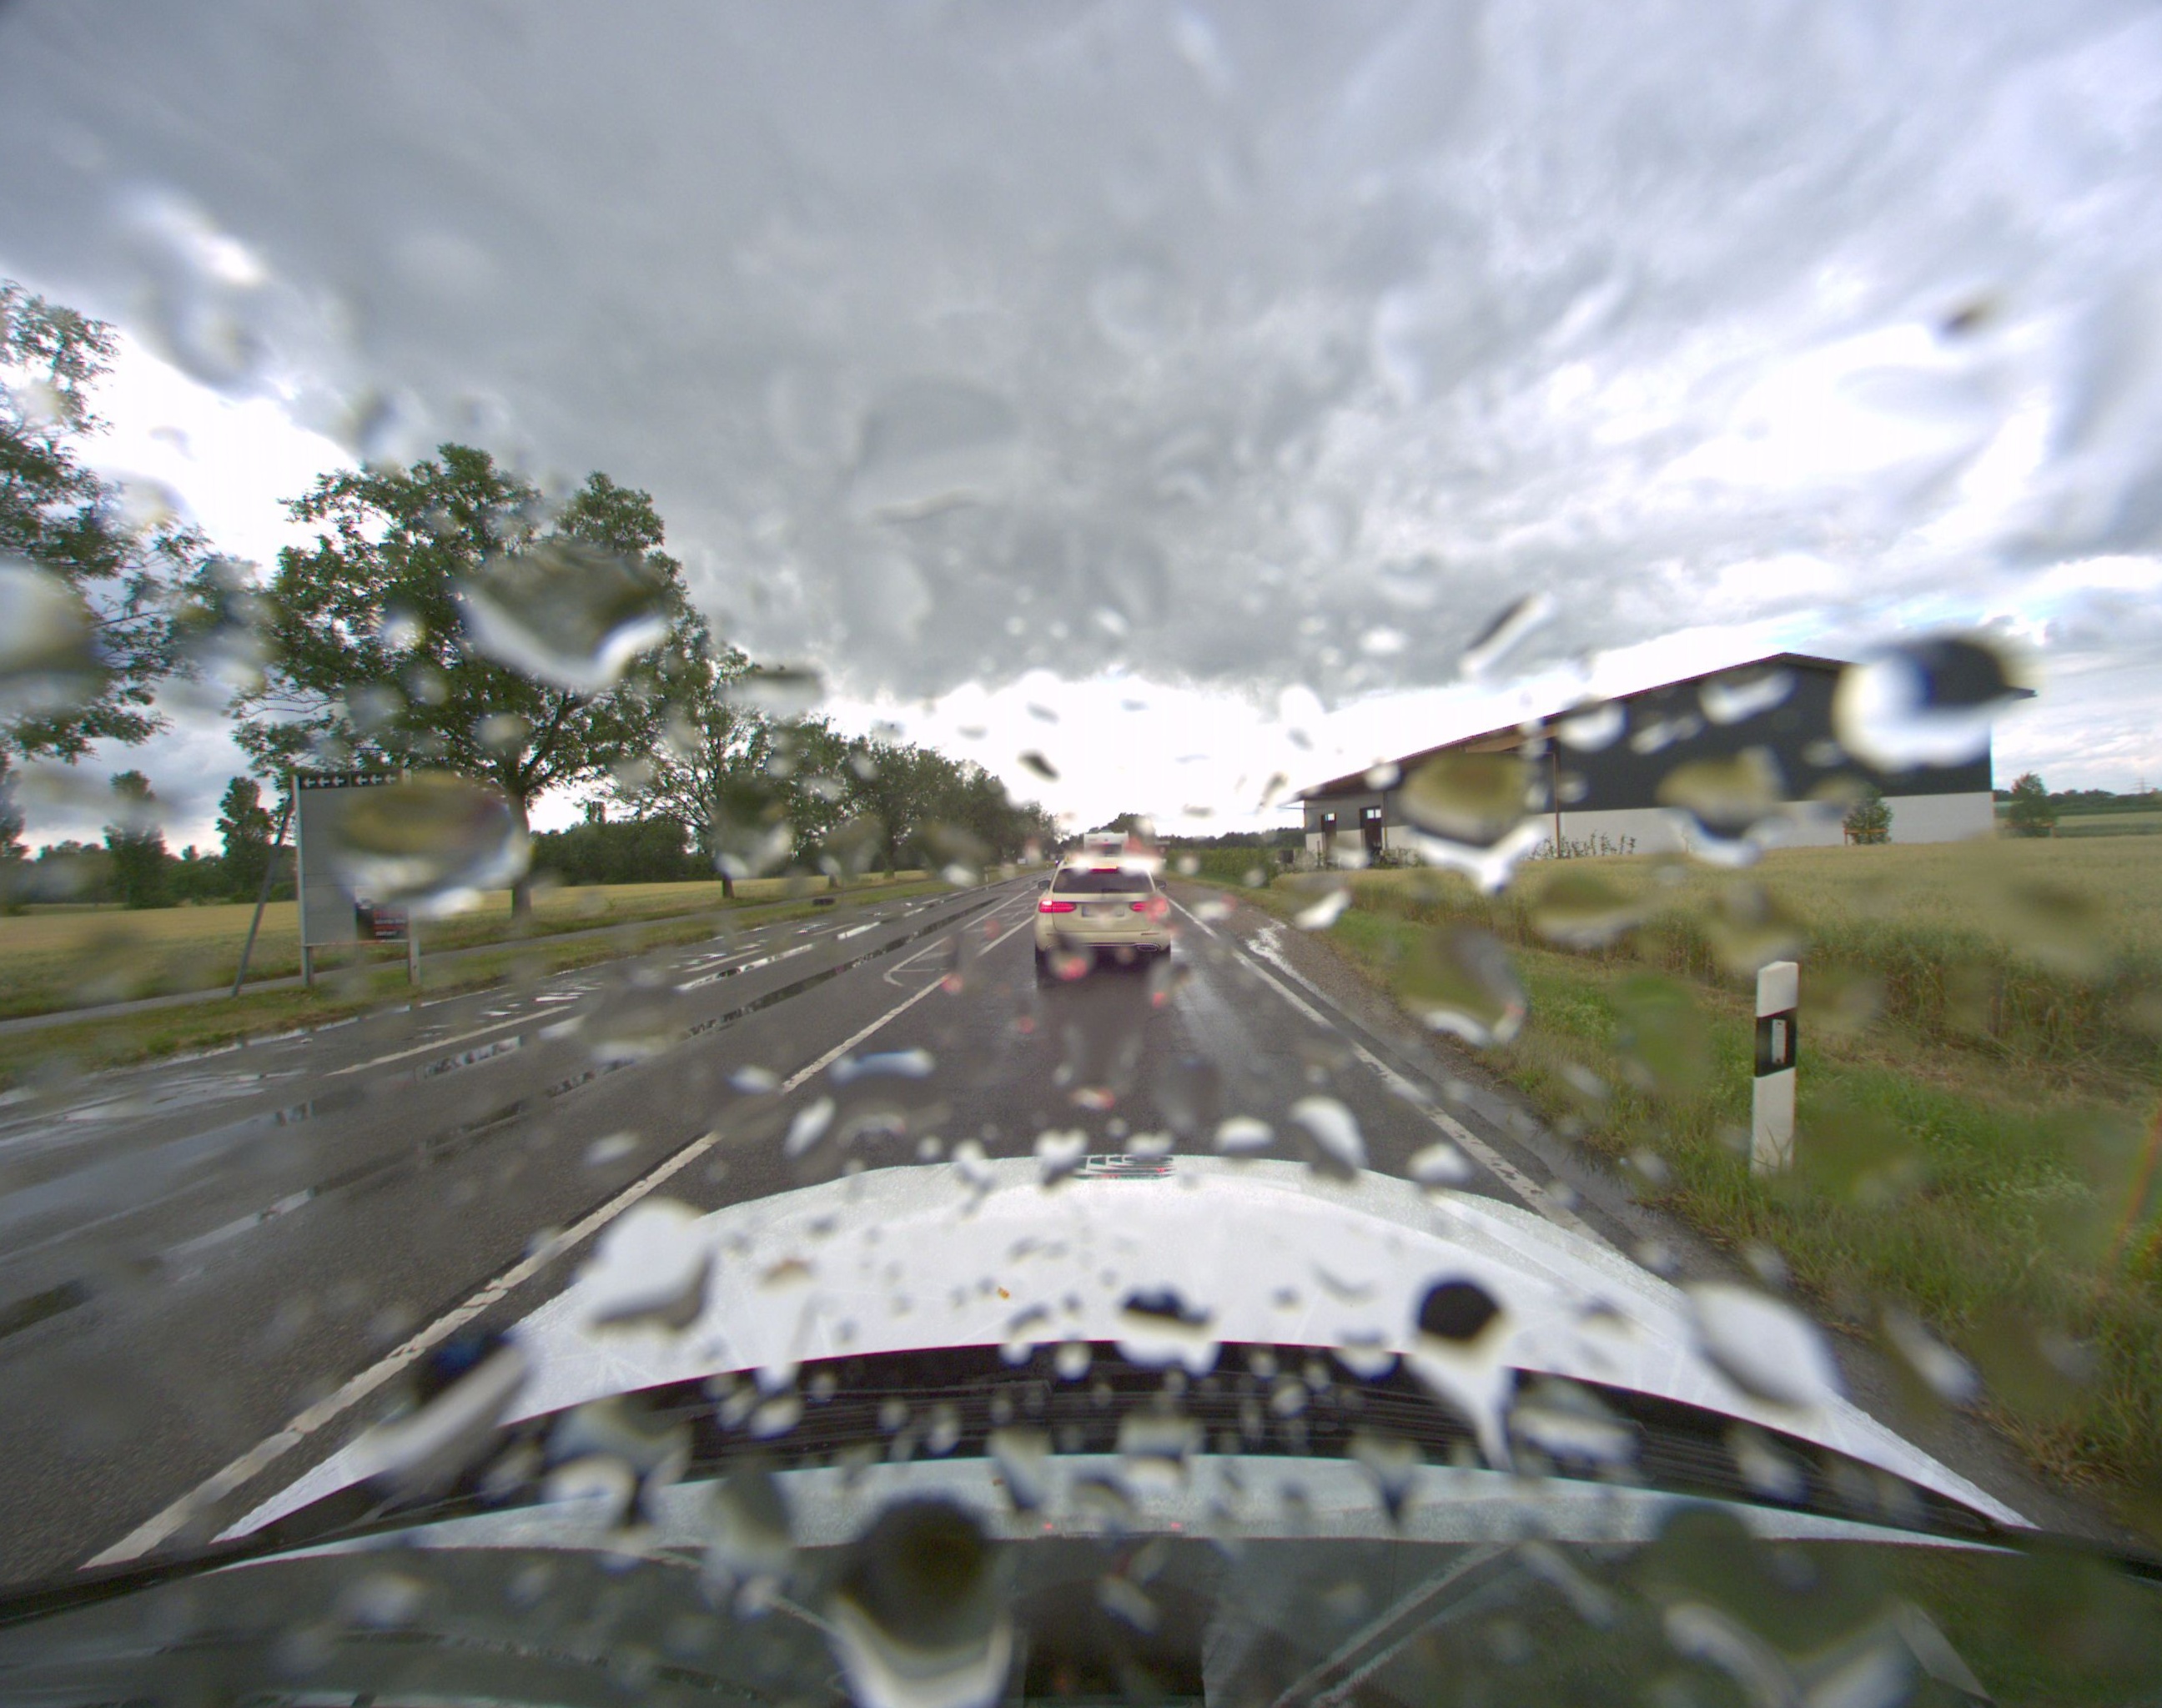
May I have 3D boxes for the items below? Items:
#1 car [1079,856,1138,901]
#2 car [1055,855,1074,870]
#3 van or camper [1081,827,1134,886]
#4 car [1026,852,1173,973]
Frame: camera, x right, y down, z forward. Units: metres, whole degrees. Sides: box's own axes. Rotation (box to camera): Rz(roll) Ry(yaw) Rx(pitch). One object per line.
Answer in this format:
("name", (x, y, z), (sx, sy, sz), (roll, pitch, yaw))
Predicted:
("car", (0.936, 0.804, 28.595), (1.888, 1.429, 3.929), (-1, 0, 1))
("car", (-1.878, 0.958, 94.915), (1.909, 1.632, 4.358), (-3, 0, 2))
("van or camper", (1.481, 0.120, 43.526), (2.487, 2.831, 5.938), (-3, 0, 3))
("car", (0.308, 0.720, 12.056), (1.790, 1.464, 4.033), (-1, 0, 2))
